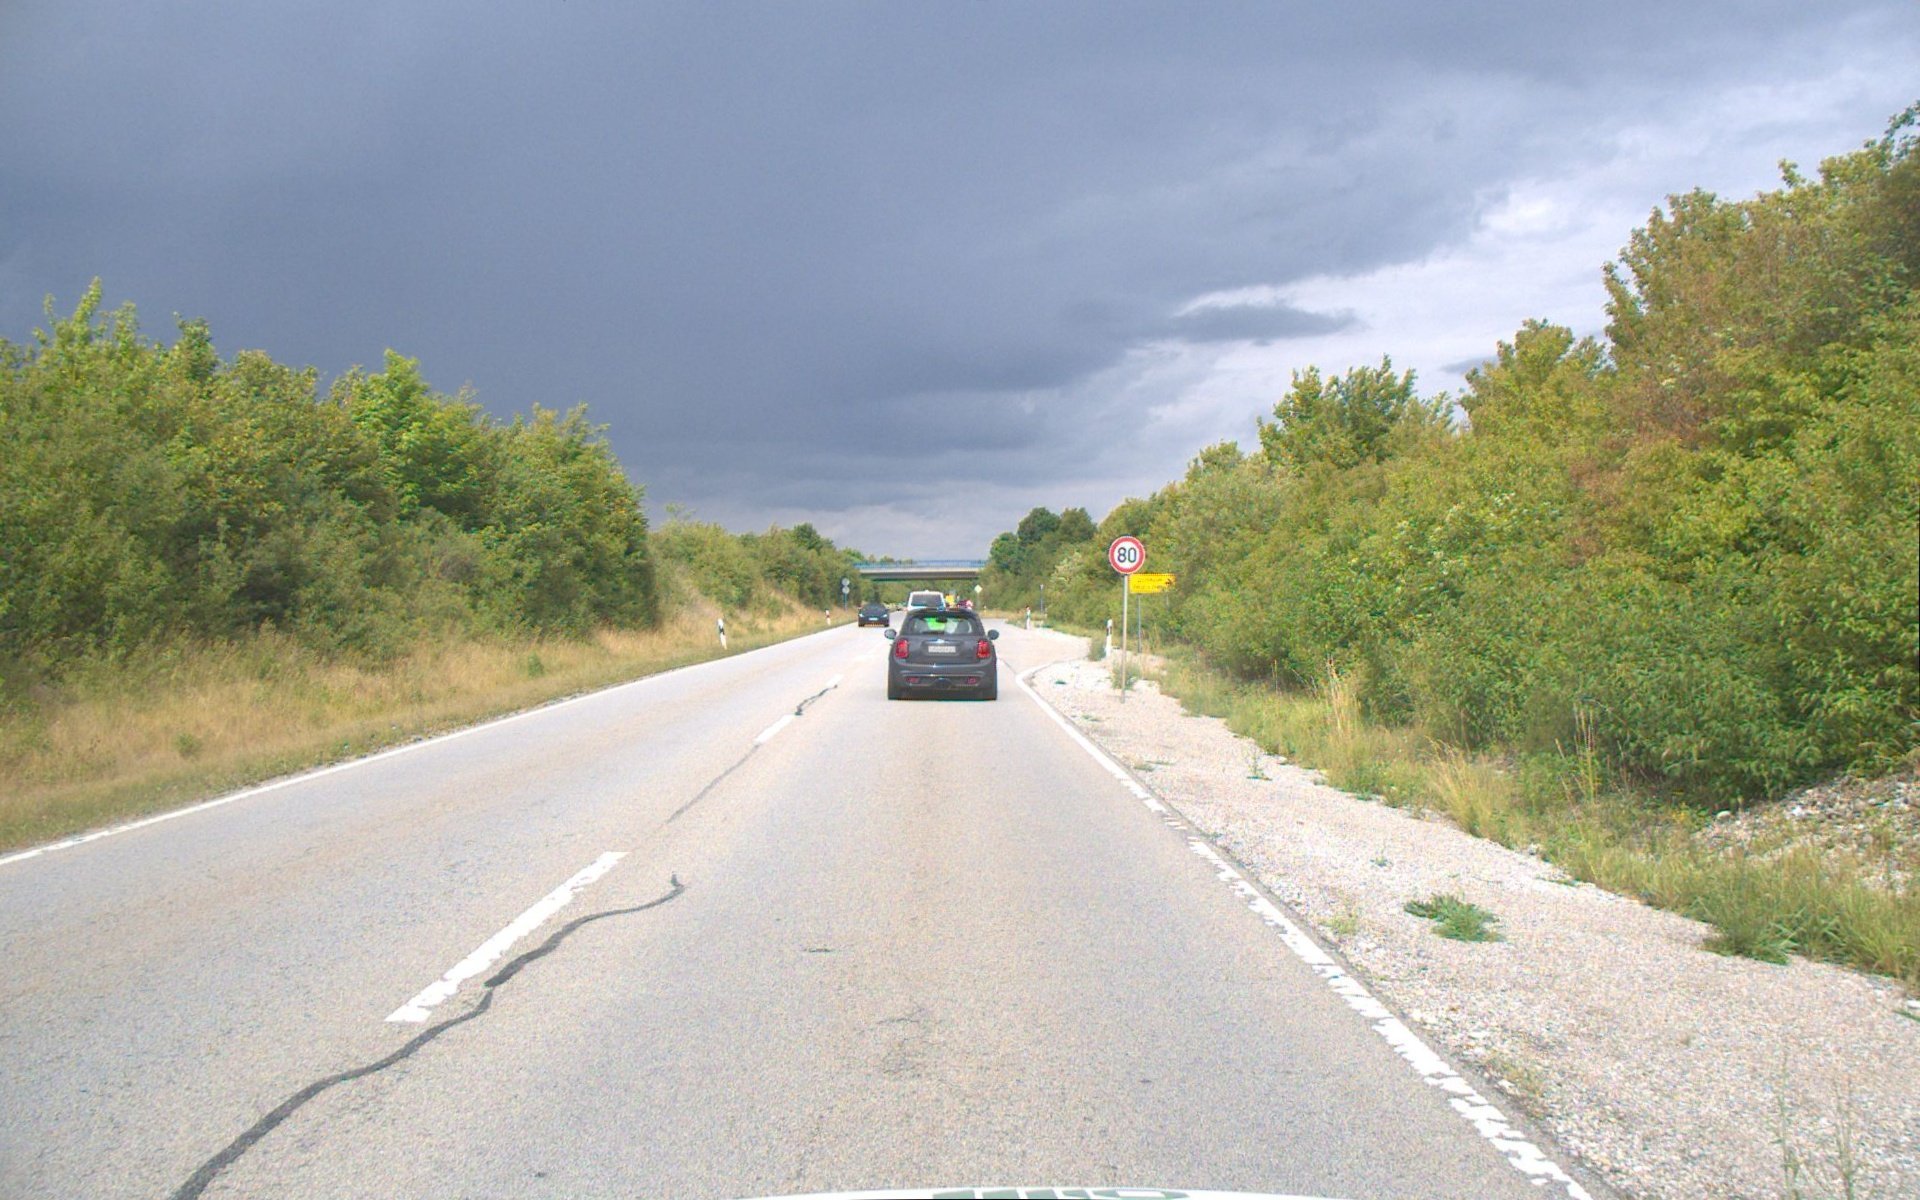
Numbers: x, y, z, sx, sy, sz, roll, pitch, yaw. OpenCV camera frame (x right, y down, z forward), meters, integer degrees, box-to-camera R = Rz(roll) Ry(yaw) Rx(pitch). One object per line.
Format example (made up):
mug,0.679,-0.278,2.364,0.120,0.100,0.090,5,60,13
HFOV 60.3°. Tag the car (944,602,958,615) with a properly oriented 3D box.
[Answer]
car,-1.259,1.183,225.575,1.745,1.736,3.998,1,0,-3

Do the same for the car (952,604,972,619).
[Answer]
car,0.239,1.275,181.479,1.954,1.579,3.997,1,0,-3

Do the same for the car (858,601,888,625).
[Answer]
car,-5.224,0.782,99.526,1.666,1.353,3.999,-1,0,-2

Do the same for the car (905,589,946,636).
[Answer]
car,-1.587,0.562,76.124,1.782,2.090,3.999,1,0,-1

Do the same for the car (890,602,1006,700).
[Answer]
car,-0.220,0.784,26.970,1.721,1.452,3.999,1,0,-1
